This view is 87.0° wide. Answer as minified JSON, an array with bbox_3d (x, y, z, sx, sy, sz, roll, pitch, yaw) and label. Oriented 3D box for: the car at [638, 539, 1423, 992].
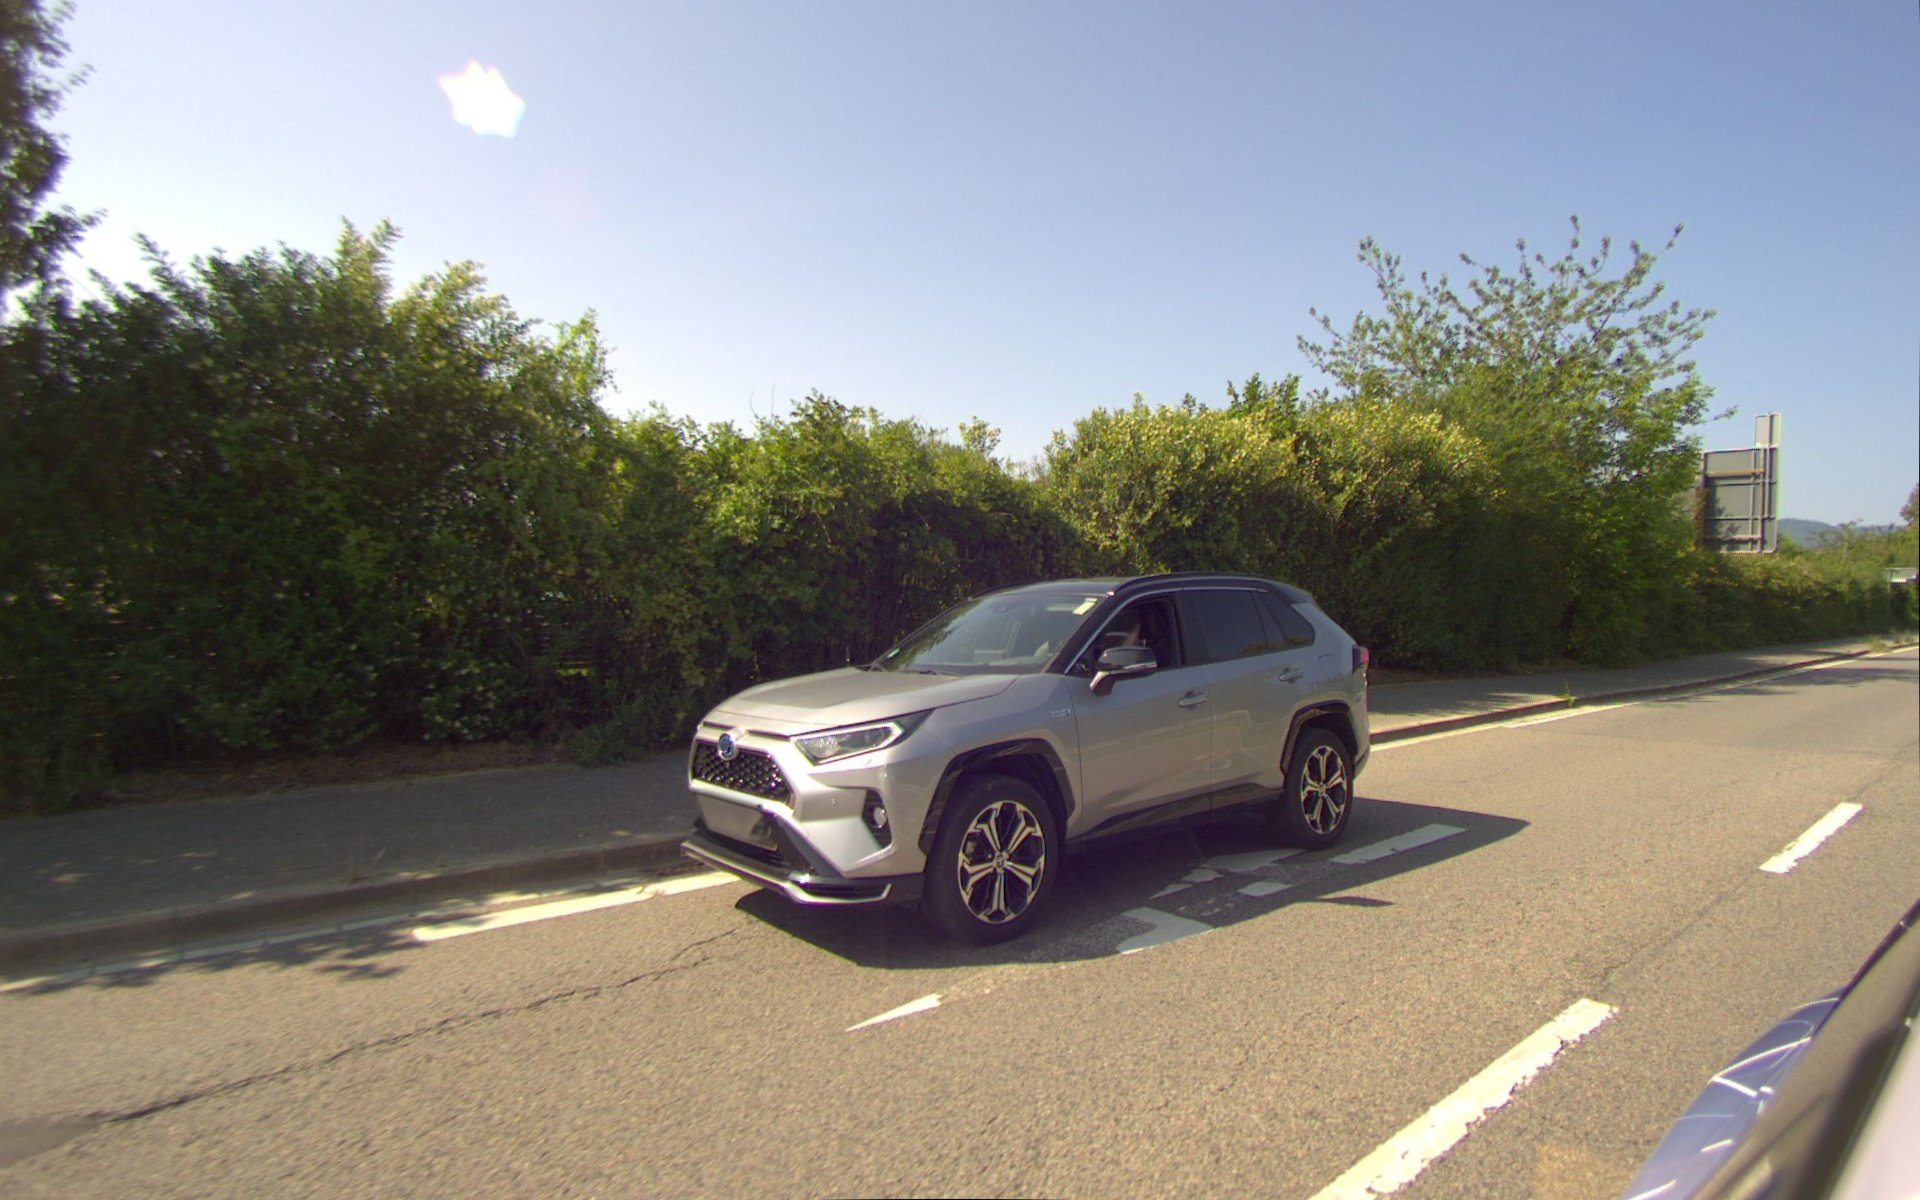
[{"bbox_3d":[0.688,0.650,6.032,4.599,1.702,1.905,0,-2,-39],"label":"car"}]
